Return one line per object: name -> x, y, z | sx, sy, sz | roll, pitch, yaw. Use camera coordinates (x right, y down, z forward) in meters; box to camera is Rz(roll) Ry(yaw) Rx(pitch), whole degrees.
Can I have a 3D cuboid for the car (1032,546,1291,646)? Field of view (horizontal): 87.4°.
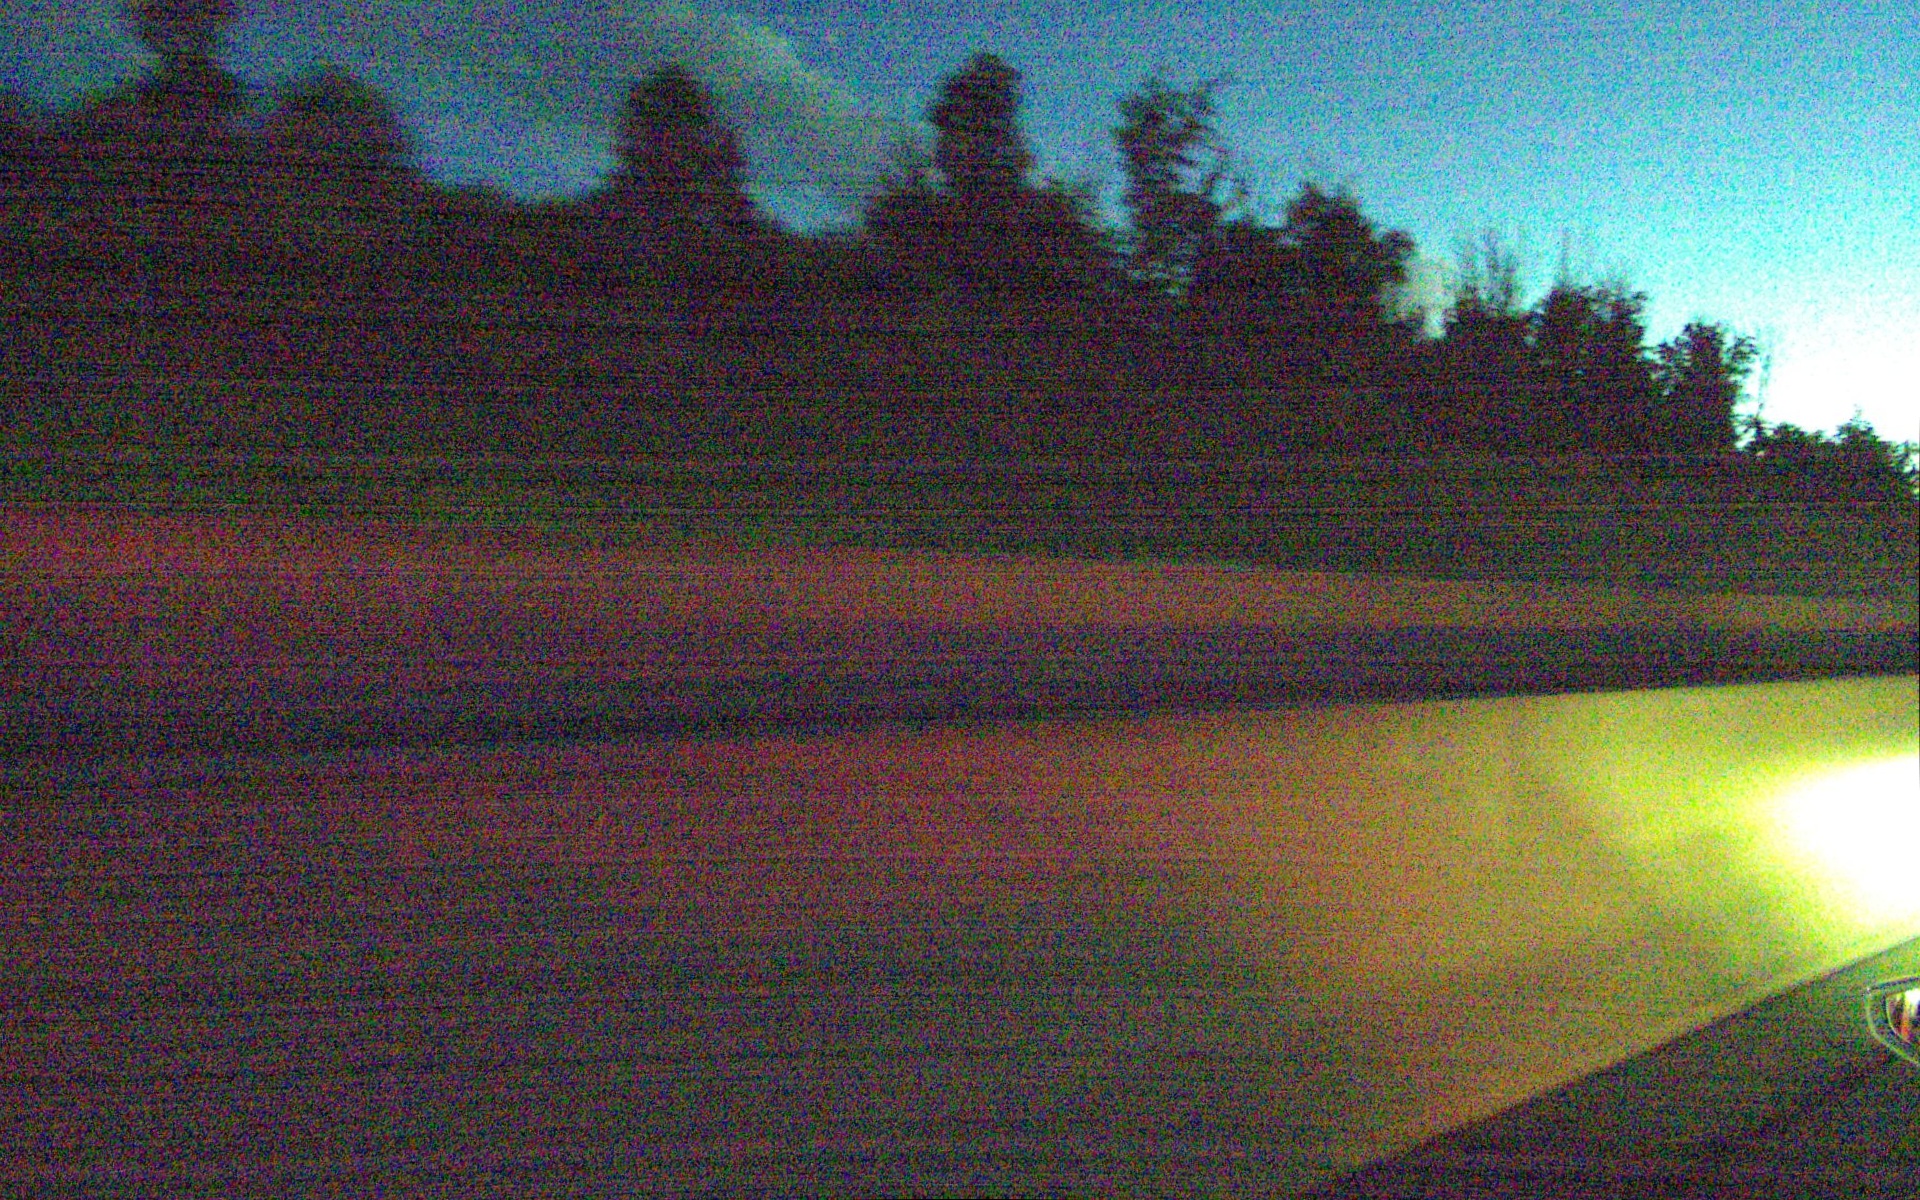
car -> 3.855, -0.101, 18.990 | 4.695, 1.658, 1.981 | 0, 4, -32
